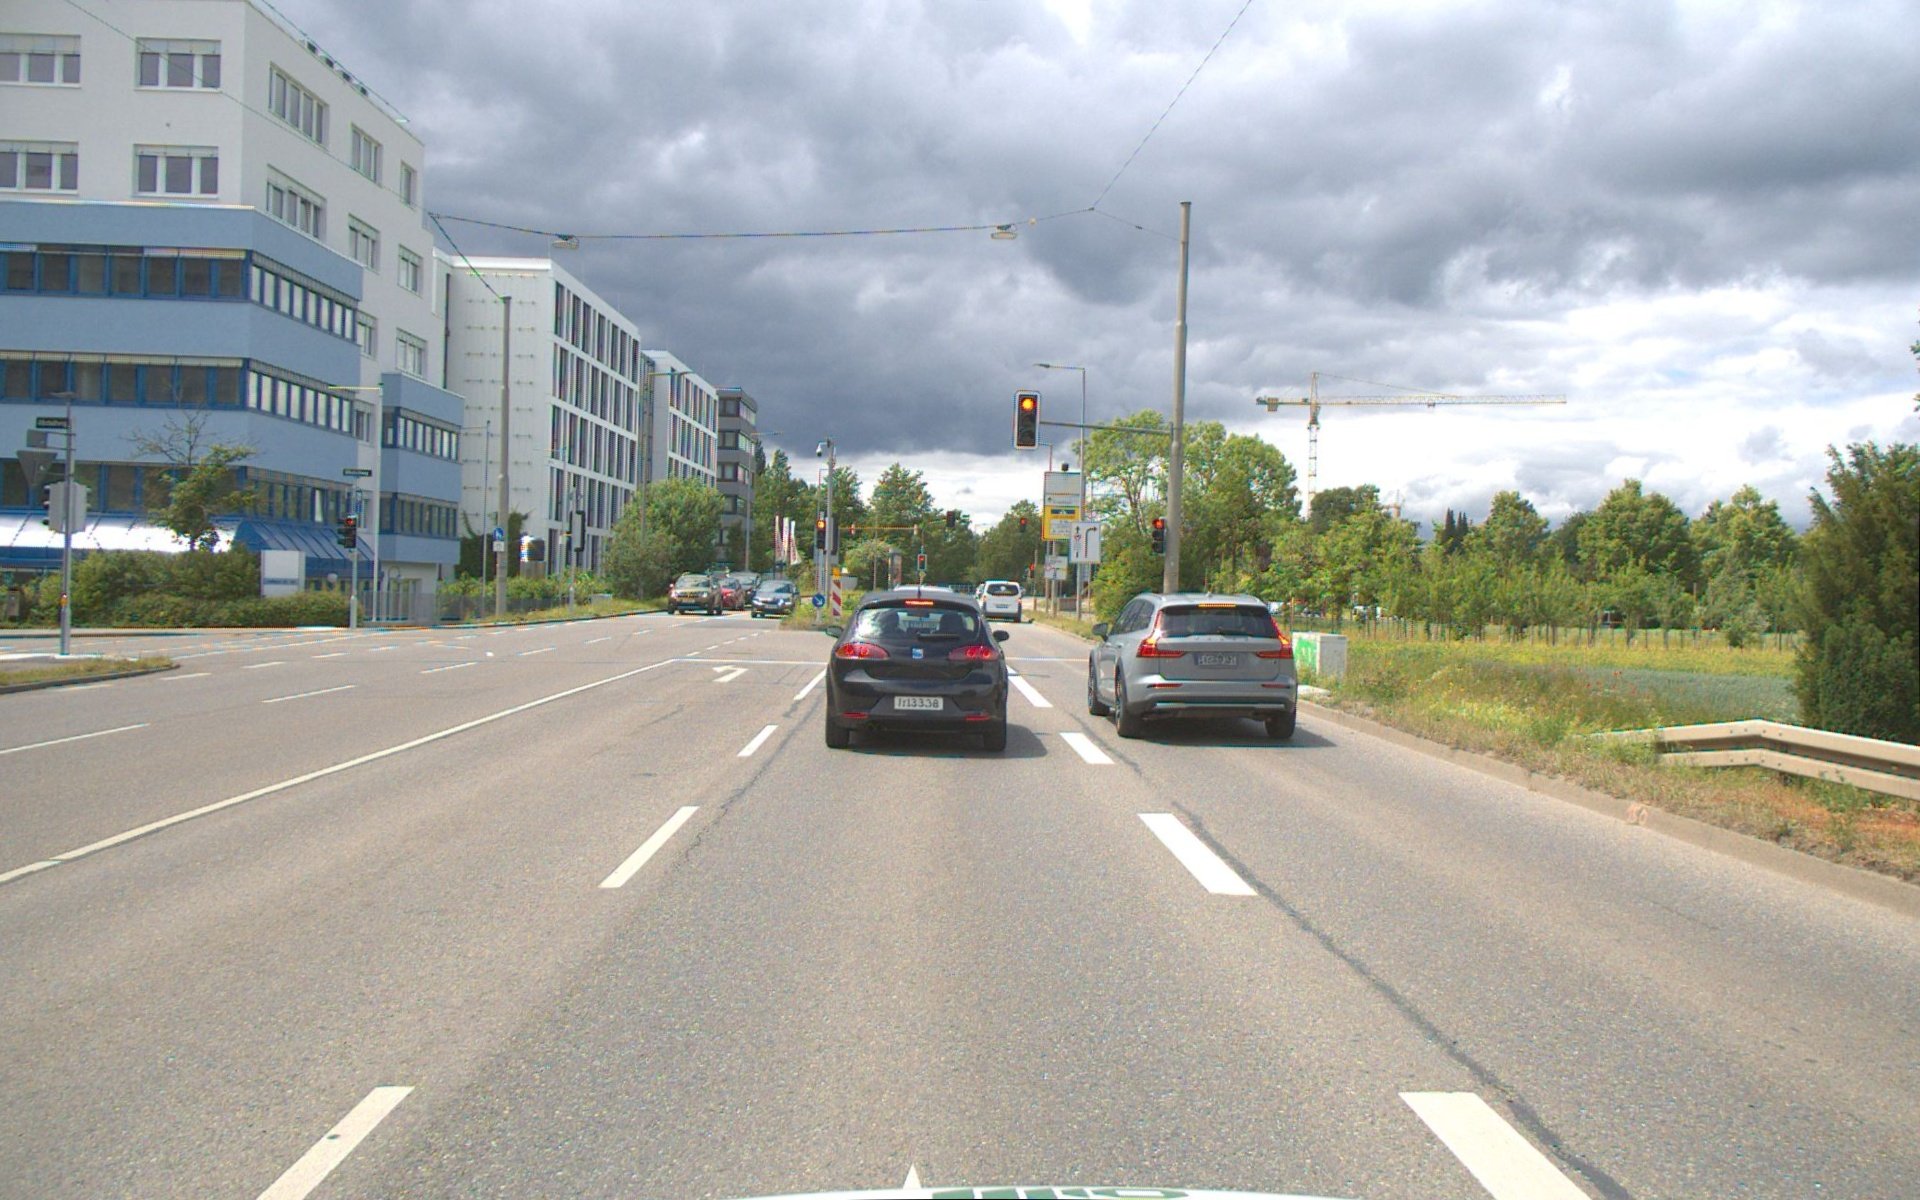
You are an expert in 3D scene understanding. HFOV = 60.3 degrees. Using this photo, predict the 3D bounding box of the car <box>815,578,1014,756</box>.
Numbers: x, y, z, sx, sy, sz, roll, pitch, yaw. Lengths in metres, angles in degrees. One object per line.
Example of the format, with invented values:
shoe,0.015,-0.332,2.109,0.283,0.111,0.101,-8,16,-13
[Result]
car,-0.343,0.595,16.648,1.711,1.509,4.001,2,0,2

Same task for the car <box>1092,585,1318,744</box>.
car,2.587,0.638,18.433,1.918,1.552,4.340,0,0,1

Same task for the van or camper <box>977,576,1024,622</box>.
van or camper,1.881,-0.014,77.862,1.953,1.960,3.998,1,-2,-2

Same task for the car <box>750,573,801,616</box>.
car,-7.186,-0.245,64.867,1.635,1.551,4.007,-1,2,-2

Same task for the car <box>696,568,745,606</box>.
car,-11.022,-0.586,76.319,1.740,1.640,3.999,1,0,-2

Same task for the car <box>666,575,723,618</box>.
car,-10.581,-0.141,66.164,1.716,1.659,3.999,-1,0,-2

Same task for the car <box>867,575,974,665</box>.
car,-0.814,0.344,32.820,1.944,1.618,4.224,2,1,-2
